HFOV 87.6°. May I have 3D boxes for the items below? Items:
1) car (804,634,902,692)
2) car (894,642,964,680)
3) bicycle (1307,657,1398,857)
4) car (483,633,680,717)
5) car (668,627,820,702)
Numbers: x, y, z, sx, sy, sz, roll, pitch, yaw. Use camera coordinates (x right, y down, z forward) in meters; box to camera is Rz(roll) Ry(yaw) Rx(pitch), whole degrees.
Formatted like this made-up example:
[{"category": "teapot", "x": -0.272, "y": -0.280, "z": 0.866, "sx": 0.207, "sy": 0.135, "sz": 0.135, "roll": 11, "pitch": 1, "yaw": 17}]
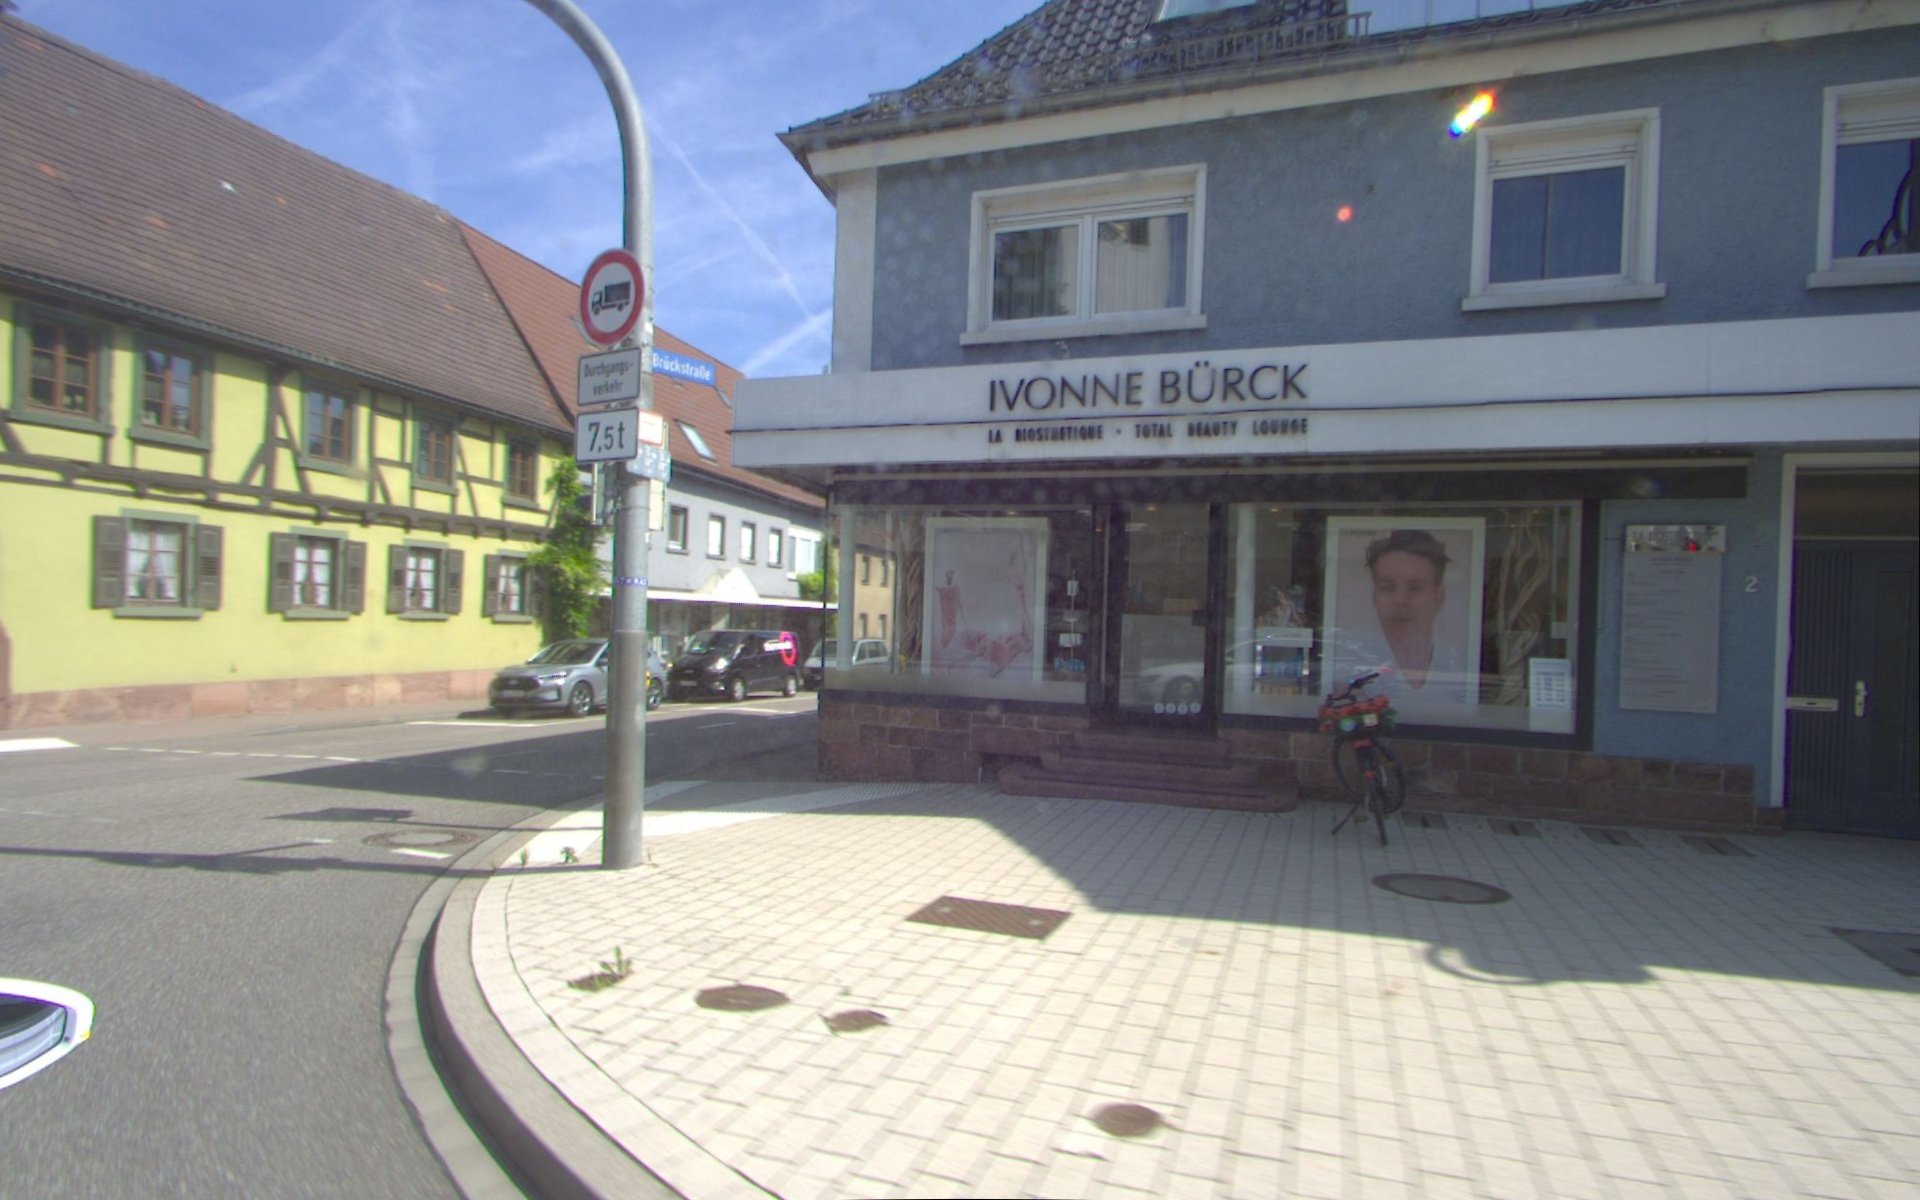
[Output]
[{"category": "car", "x": -3.761, "y": 2.222, "z": 36.032, "sx": 1.855, "sy": 1.914, "sz": 4.548, "roll": 0, "pitch": -3, "yaw": 17}, {"category": "car", "x": -1.253, "y": 2.542, "z": 42.257, "sx": 1.733, "sy": 1.511, "sz": 4.073, "roll": 0, "pitch": -3, "yaw": 17}, {"category": "bicycle", "x": 2.967, "y": 1.080, "z": 7.486, "sx": 0.540, "sy": 1.250, "sz": 1.804, "roll": 1, "pitch": -1, "yaw": 24}, {"category": "car", "x": -8.023, "y": 1.569, "z": 21.738, "sx": 1.729, "sy": 1.630, "sz": 4.426, "roll": -1, "pitch": -3, "yaw": 15}, {"category": "car", "x": -6.004, "y": 1.804, "z": 28.609, "sx": 2.126, "sy": 1.947, "sz": 5.163, "roll": 0, "pitch": -3, "yaw": 15}]
